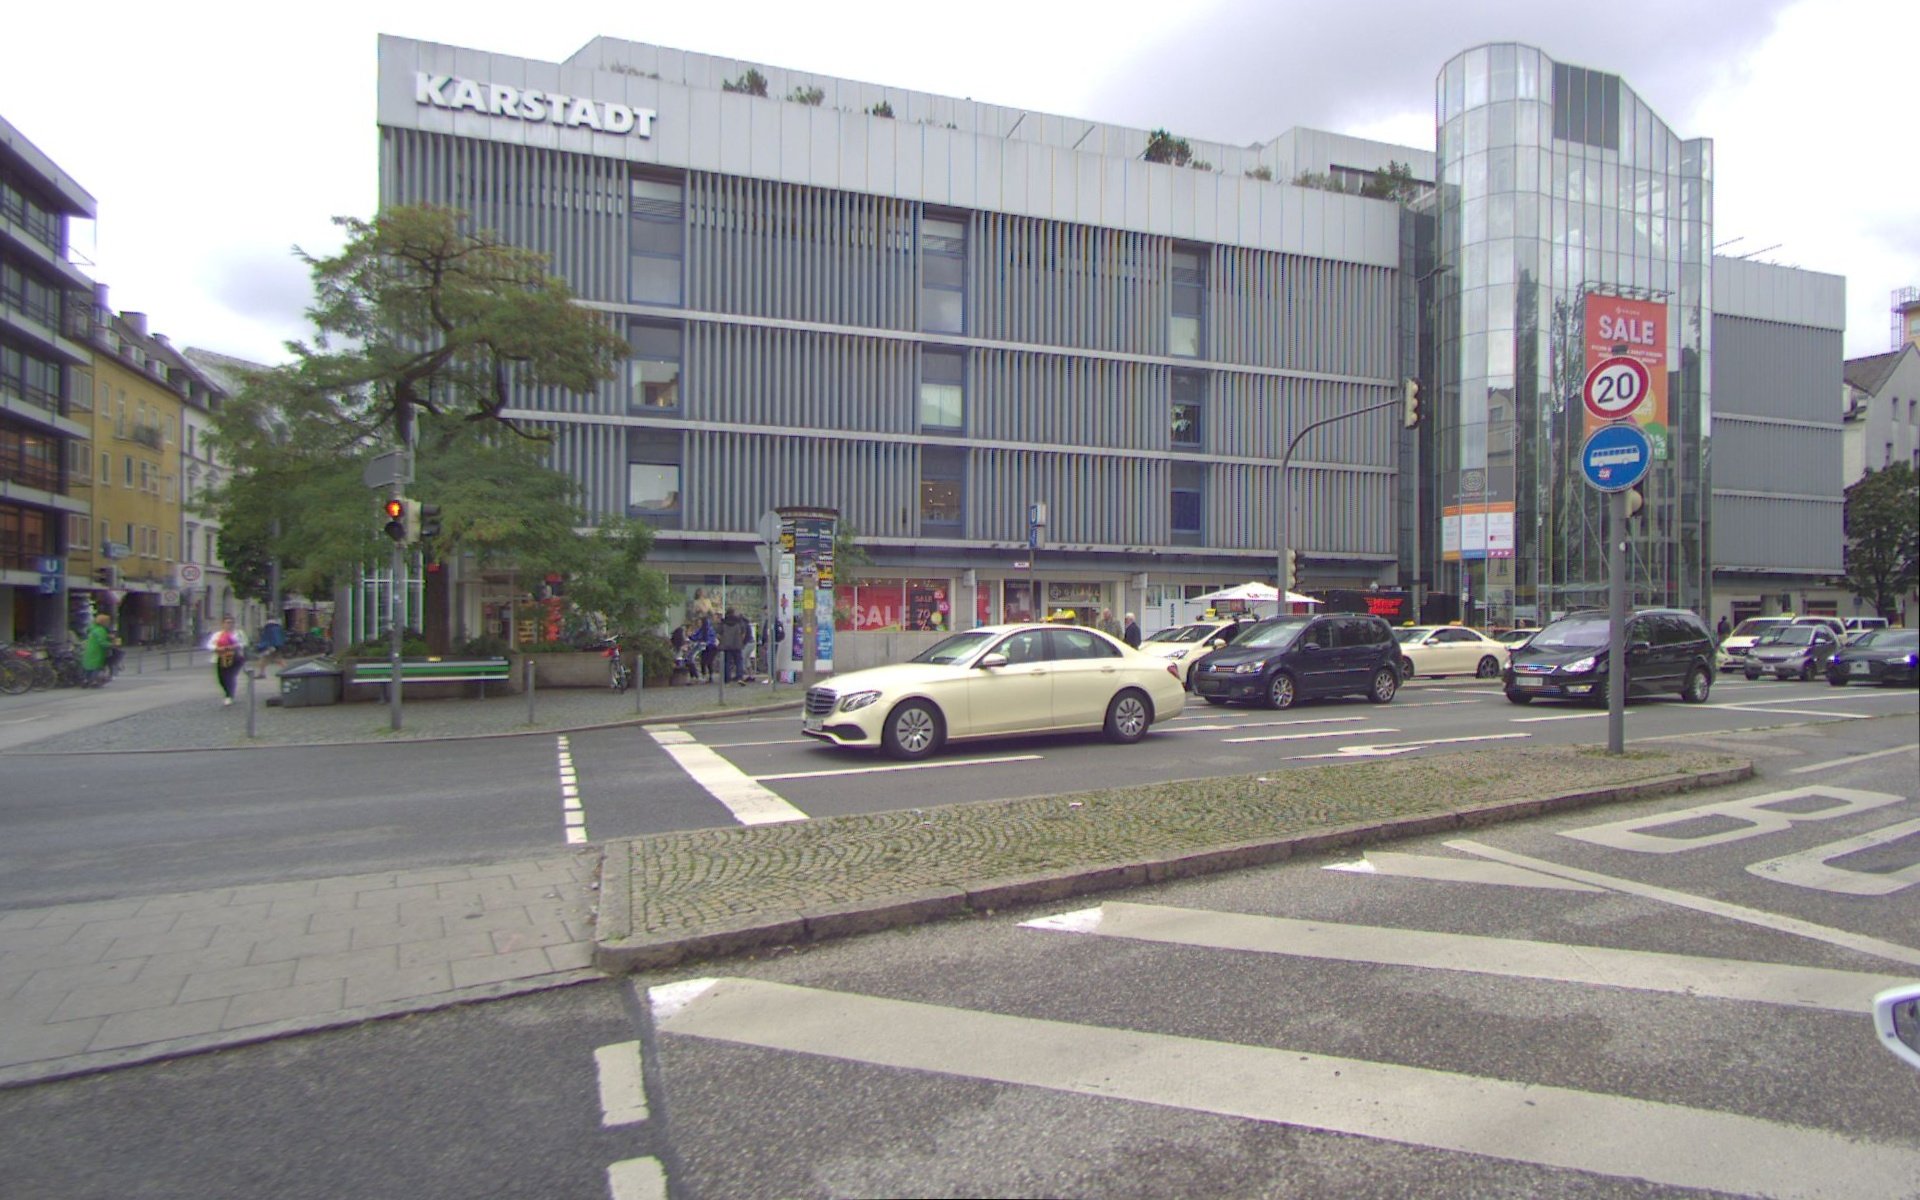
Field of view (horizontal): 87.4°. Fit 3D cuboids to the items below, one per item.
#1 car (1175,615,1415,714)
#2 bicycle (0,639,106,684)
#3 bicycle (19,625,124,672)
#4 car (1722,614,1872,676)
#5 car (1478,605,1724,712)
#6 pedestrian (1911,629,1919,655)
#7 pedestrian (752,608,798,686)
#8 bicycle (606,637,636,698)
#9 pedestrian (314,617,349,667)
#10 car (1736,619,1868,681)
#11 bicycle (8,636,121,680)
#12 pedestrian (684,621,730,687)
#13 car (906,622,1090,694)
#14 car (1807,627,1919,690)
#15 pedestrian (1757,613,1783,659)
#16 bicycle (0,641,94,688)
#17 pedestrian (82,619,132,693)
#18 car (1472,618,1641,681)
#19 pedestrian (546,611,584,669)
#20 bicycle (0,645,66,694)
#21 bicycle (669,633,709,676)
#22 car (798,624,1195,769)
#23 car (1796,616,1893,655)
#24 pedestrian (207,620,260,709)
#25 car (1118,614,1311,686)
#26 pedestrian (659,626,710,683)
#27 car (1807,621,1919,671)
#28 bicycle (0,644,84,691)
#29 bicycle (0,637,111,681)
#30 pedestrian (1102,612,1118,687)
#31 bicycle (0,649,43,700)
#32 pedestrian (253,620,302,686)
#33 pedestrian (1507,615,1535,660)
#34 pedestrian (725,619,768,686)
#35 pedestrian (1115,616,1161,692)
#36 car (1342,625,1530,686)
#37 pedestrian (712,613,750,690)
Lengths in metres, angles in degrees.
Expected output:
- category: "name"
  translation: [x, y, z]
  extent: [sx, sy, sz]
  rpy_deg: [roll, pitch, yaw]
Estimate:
- category: "car"
  translation: [6.158, 1.094, 18.385]
  extent: [4.205, 1.635, 1.831]
  rpy_deg: [1, -1, -29]
- category: "bicycle"
  translation: [-21.554, 1.469, 23.753]
  extent: [1.963, 1.011, 0.524]
  rpy_deg: [3, -2, -30]
- category: "bicycle"
  translation: [-22.399, 1.235, 25.368]
  extent: [1.872, 1.126, 0.582]
  rpy_deg: [3, -2, -30]
- category: "car"
  translation: [28.963, 1.499, 34.716]
  extent: [5.450, 2.040, 1.987]
  rpy_deg: [1, -1, -27]
- category: "car"
  translation: [11.818, 1.015, 18.467]
  extent: [4.533, 1.761, 1.928]
  rpy_deg: [1, -2, -30]
- category: "pedestrian"
  translation: [47.966, 2.080, 50.082]
  extent: [0.618, 1.307, 0.557]
  rpy_deg: [0, -1, -19]
- category: "pedestrian"
  translation: [-4.329, 1.085, 23.499]
  extent: [0.739, 1.797, 0.770]
  rpy_deg: [0, -1, 36]
- category: "bicycle"
  translation: [-6.817, 1.327, 20.155]
  extent: [0.368, 1.126, 1.568]
  rpy_deg: [1, 0, -26]
- category: "pedestrian"
  translation: [-21.553, 1.426, 34.474]
  extent: [0.839, 1.676, 0.799]
  rpy_deg: [1, -1, -19]
- category: "car"
  translation: [23.505, 1.401, 28.029]
  extent: [3.340, 1.572, 1.619]
  rpy_deg: [4, -2, -26]
- category: "bicycle"
  translation: [-22.106, 1.438, 24.845]
  extent: [1.963, 1.011, 0.524]
  rpy_deg: [3, -2, -30]
- category: "pedestrian"
  translation: [-5.957, 1.259, 23.682]
  extent: [0.737, 1.513, 0.772]
  rpy_deg: [0, -1, 25]
- category: "car"
  translation: [0.981, 1.314, 24.265]
  extent: [4.384, 1.556, 1.974]
  rpy_deg: [1, -1, -44]
- category: "car"
  translation: [23.069, 1.388, 24.755]
  extent: [4.543, 1.401, 1.838]
  rpy_deg: [1, -1, -28]
- category: "pedestrian"
  translation: [32.629, 1.449, 40.459]
  extent: [0.618, 1.842, 0.557]
  rpy_deg: [0, -1, -19]
- category: "bicycle"
  translation: [-21.172, 1.476, 22.973]
  extent: [1.963, 1.011, 0.524]
  rpy_deg: [3, -2, -30]
- category: "pedestrian"
  translation: [-19.666, 1.271, 23.159]
  extent: [0.830, 1.640, 0.804]
  rpy_deg: [0, -1, 45]
- category: "car"
  translation: [17.164, 1.396, 28.958]
  extent: [4.117, 1.701, 1.992]
  rpy_deg: [1, -1, -18]
- category: "pedestrian"
  translation: [-11.183, 1.121, 28.476]
  extent: [0.962, 1.602, 0.796]
  rpy_deg: [1, -1, -19]
- category: "bicycle"
  translation: [-20.384, 1.478, 21.344]
  extent: [1.963, 1.011, 0.524]
  rpy_deg: [3, -2, -30]
- category: "bicycle"
  translation: [-8.271, 1.623, 30.511]
  extent: [1.043, 1.172, 3.492]
  rpy_deg: [1, -1, -17]
- category: "car"
  translation: [0.518, 1.022, 12.101]
  extent: [4.584, 1.440, 1.757]
  rpy_deg: [1, -1, -30]
- category: "car"
  translation: [42.773, 1.686, 48.570]
  extent: [4.180, 1.795, 1.866]
  rpy_deg: [1, -1, -22]
- category: "pedestrian"
  translation: [-13.280, 1.161, 18.382]
  extent: [0.712, 1.595, 0.635]
  rpy_deg: [1, -1, -31]
- category: "car"
  translation: [6.013, 1.118, 23.616]
  extent: [4.340, 1.563, 1.892]
  rpy_deg: [1, -1, -30]
- category: "pedestrian"
  translation: [-6.343, 1.237, 23.142]
  extent: [1.032, 1.292, 0.542]
  rpy_deg: [1, -1, -30]
- category: "car"
  translation: [34.020, 1.692, 37.532]
  extent: [4.474, 1.677, 1.986]
  rpy_deg: [1, 1, -27]
- category: "bicycle"
  translation: [-20.812, 1.496, 22.280]
  extent: [1.963, 1.011, 0.524]
  rpy_deg: [3, -2, -30]
- category: "bicycle"
  translation: [-21.858, 1.438, 24.265]
  extent: [1.963, 1.011, 0.524]
  rpy_deg: [3, -2, -30]
- category: "pedestrian"
  translation: [3.608, 1.184, 24.192]
  extent: [0.348, 1.783, 0.447]
  rpy_deg: [0, -1, 5]
- category: "bicycle"
  translation: [-19.975, 1.508, 20.340]
  extent: [1.963, 1.011, 0.524]
  rpy_deg: [3, -2, -30]
- category: "pedestrian"
  translation: [-18.282, 1.402, 26.918]
  extent: [0.776, 1.710, 0.859]
  rpy_deg: [0, -1, 36]
- category: "pedestrian"
  translation: [21.634, 1.452, 38.753]
  extent: [0.700, 1.714, 0.651]
  rpy_deg: [0, -1, -18]
- category: "pedestrian"
  translation: [-5.128, 1.252, 24.138]
  extent: [0.745, 1.575, 0.764]
  rpy_deg: [1, -1, -38]
- category: "pedestrian"
  translation: [4.124, 1.234, 23.318]
  extent: [0.741, 1.713, 0.768]
  rpy_deg: [0, -1, -25]
- category: "car"
  translation: [12.674, 1.427, 26.766]
  extent: [4.566, 1.528, 1.990]
  rpy_deg: [1, -1, -22]
- category: "pedestrian"
  translation: [-5.113, 1.130, 22.398]
  extent: [0.740, 1.676, 0.769]
  rpy_deg: [0, -1, -19]
